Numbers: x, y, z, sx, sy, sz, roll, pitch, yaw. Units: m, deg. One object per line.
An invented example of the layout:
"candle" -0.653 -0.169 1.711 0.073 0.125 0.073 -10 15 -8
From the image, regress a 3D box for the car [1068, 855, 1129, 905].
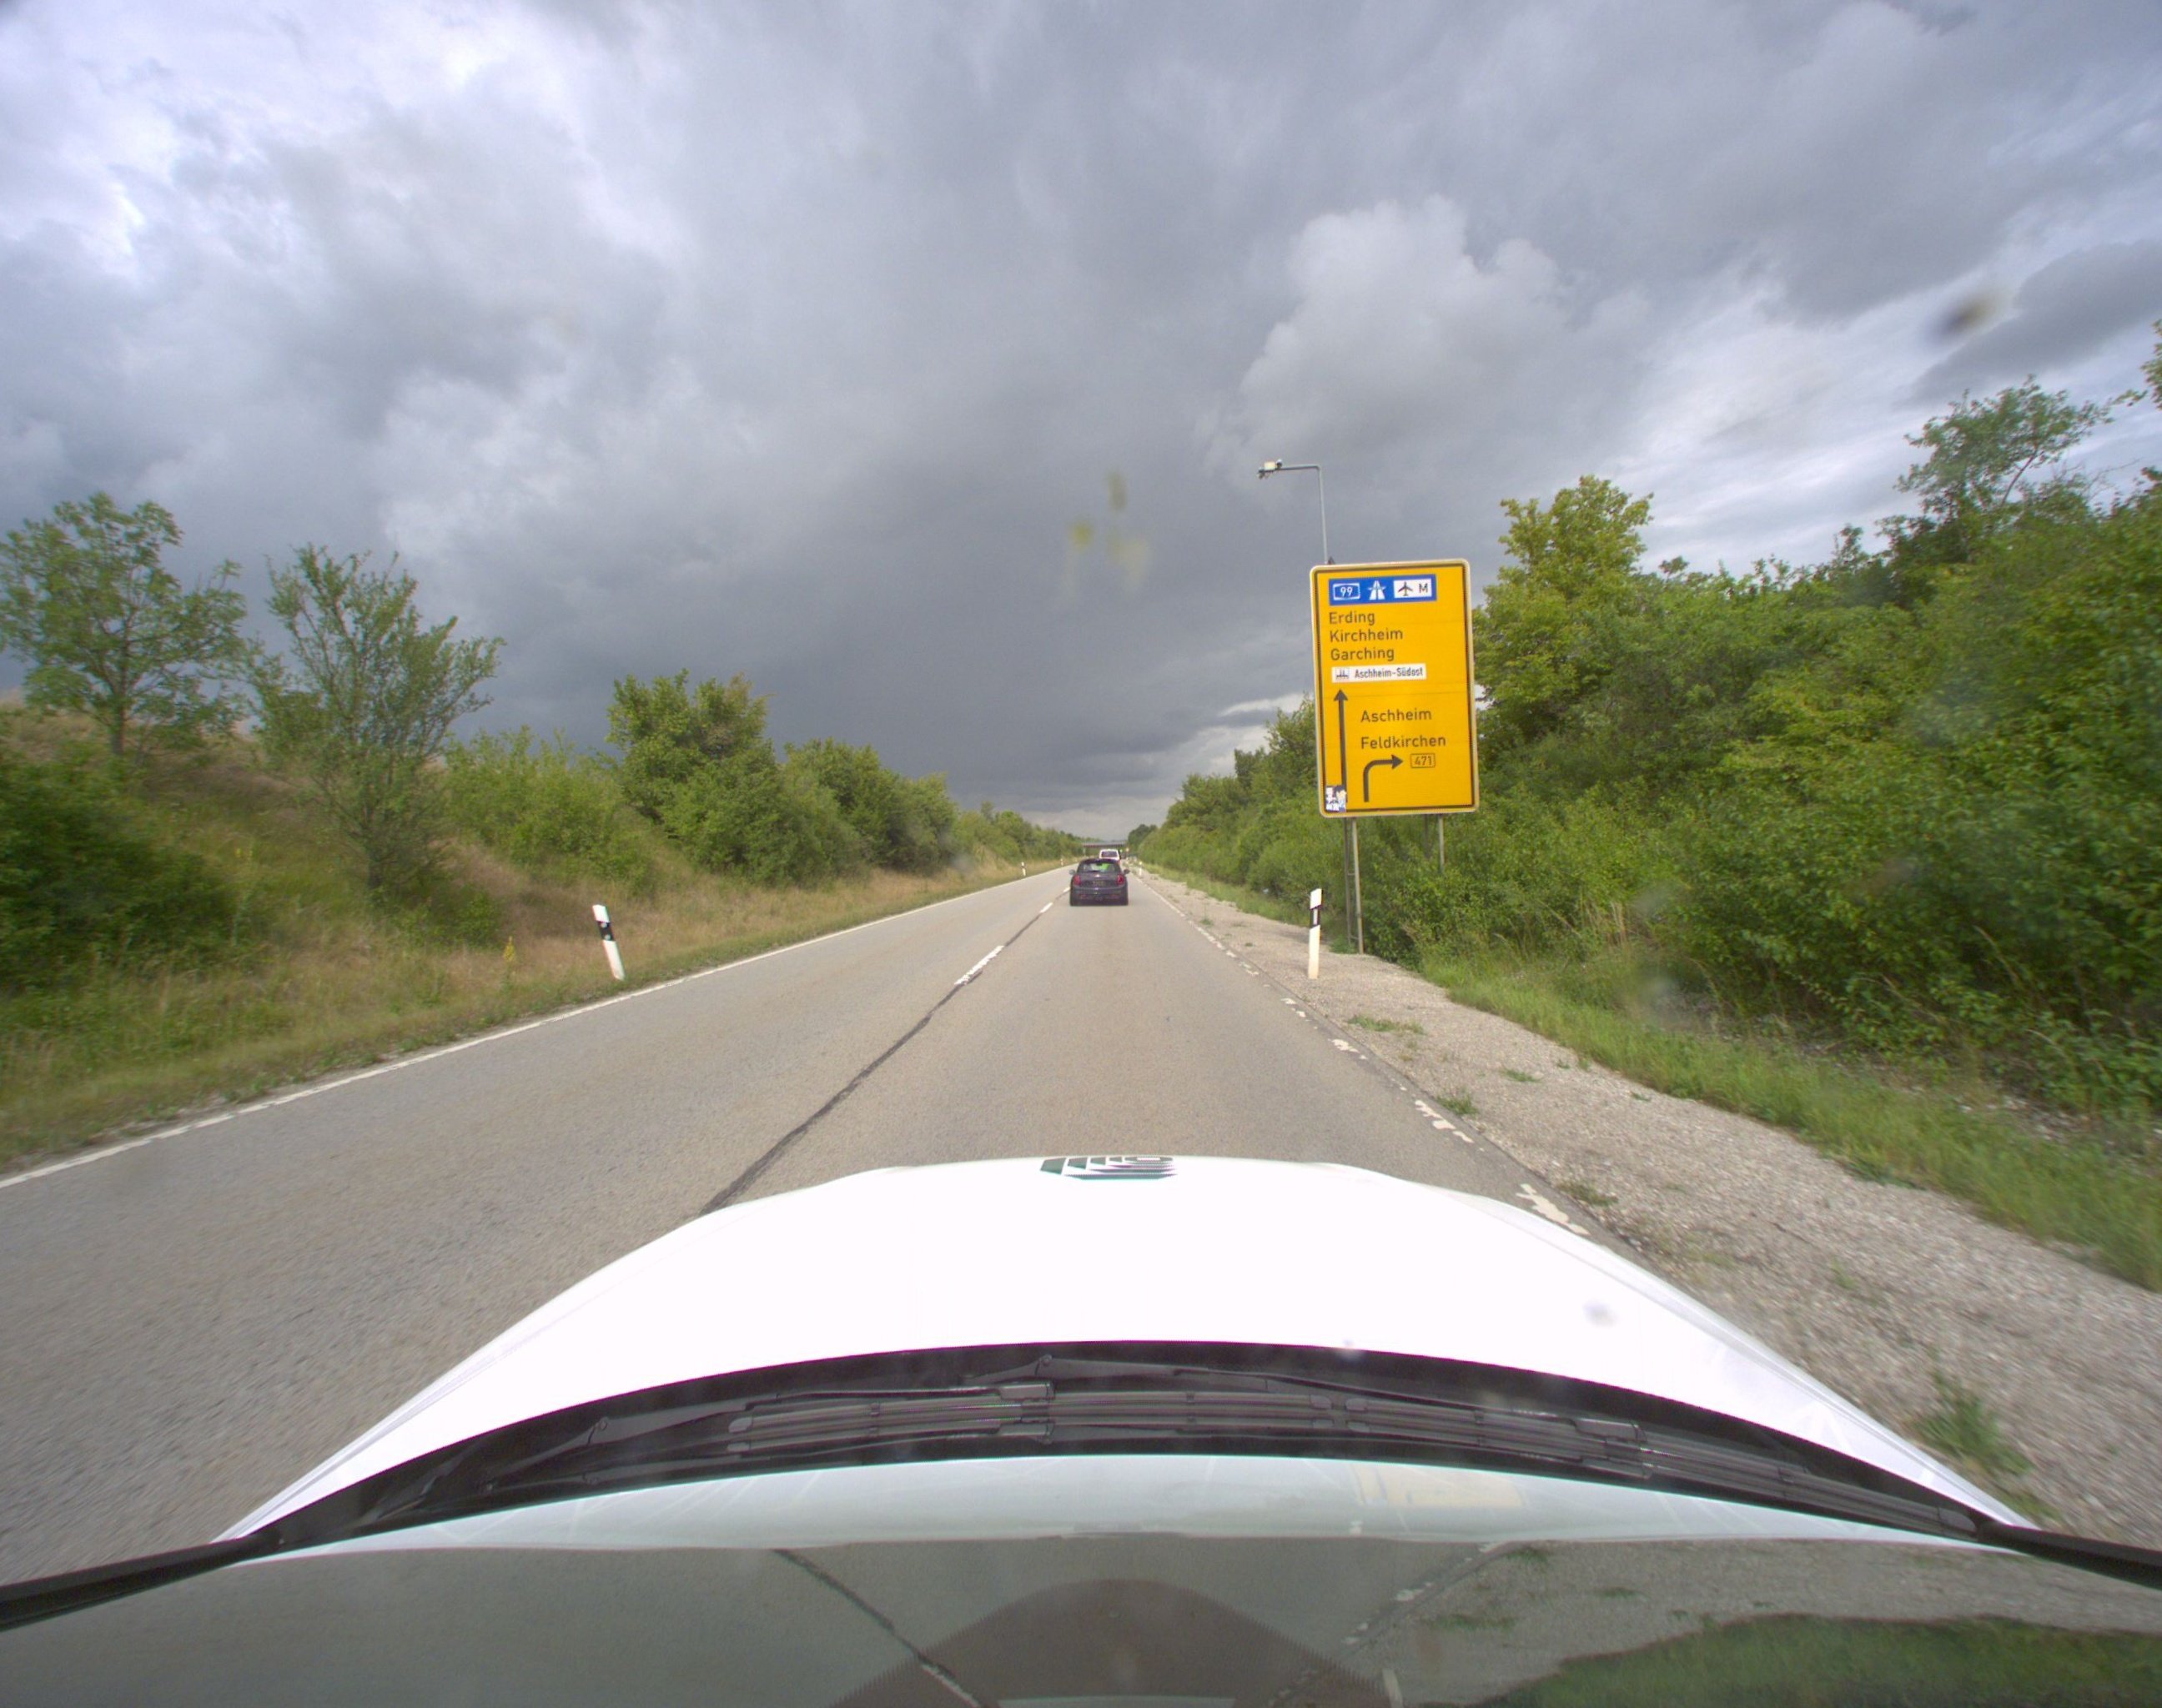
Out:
"car" 0.570 0.748 25.461 1.750 1.427 4.001 0 0 2

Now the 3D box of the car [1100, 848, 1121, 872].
"car" 2.552 0.490 71.310 1.813 2.054 4.001 0 0 2
